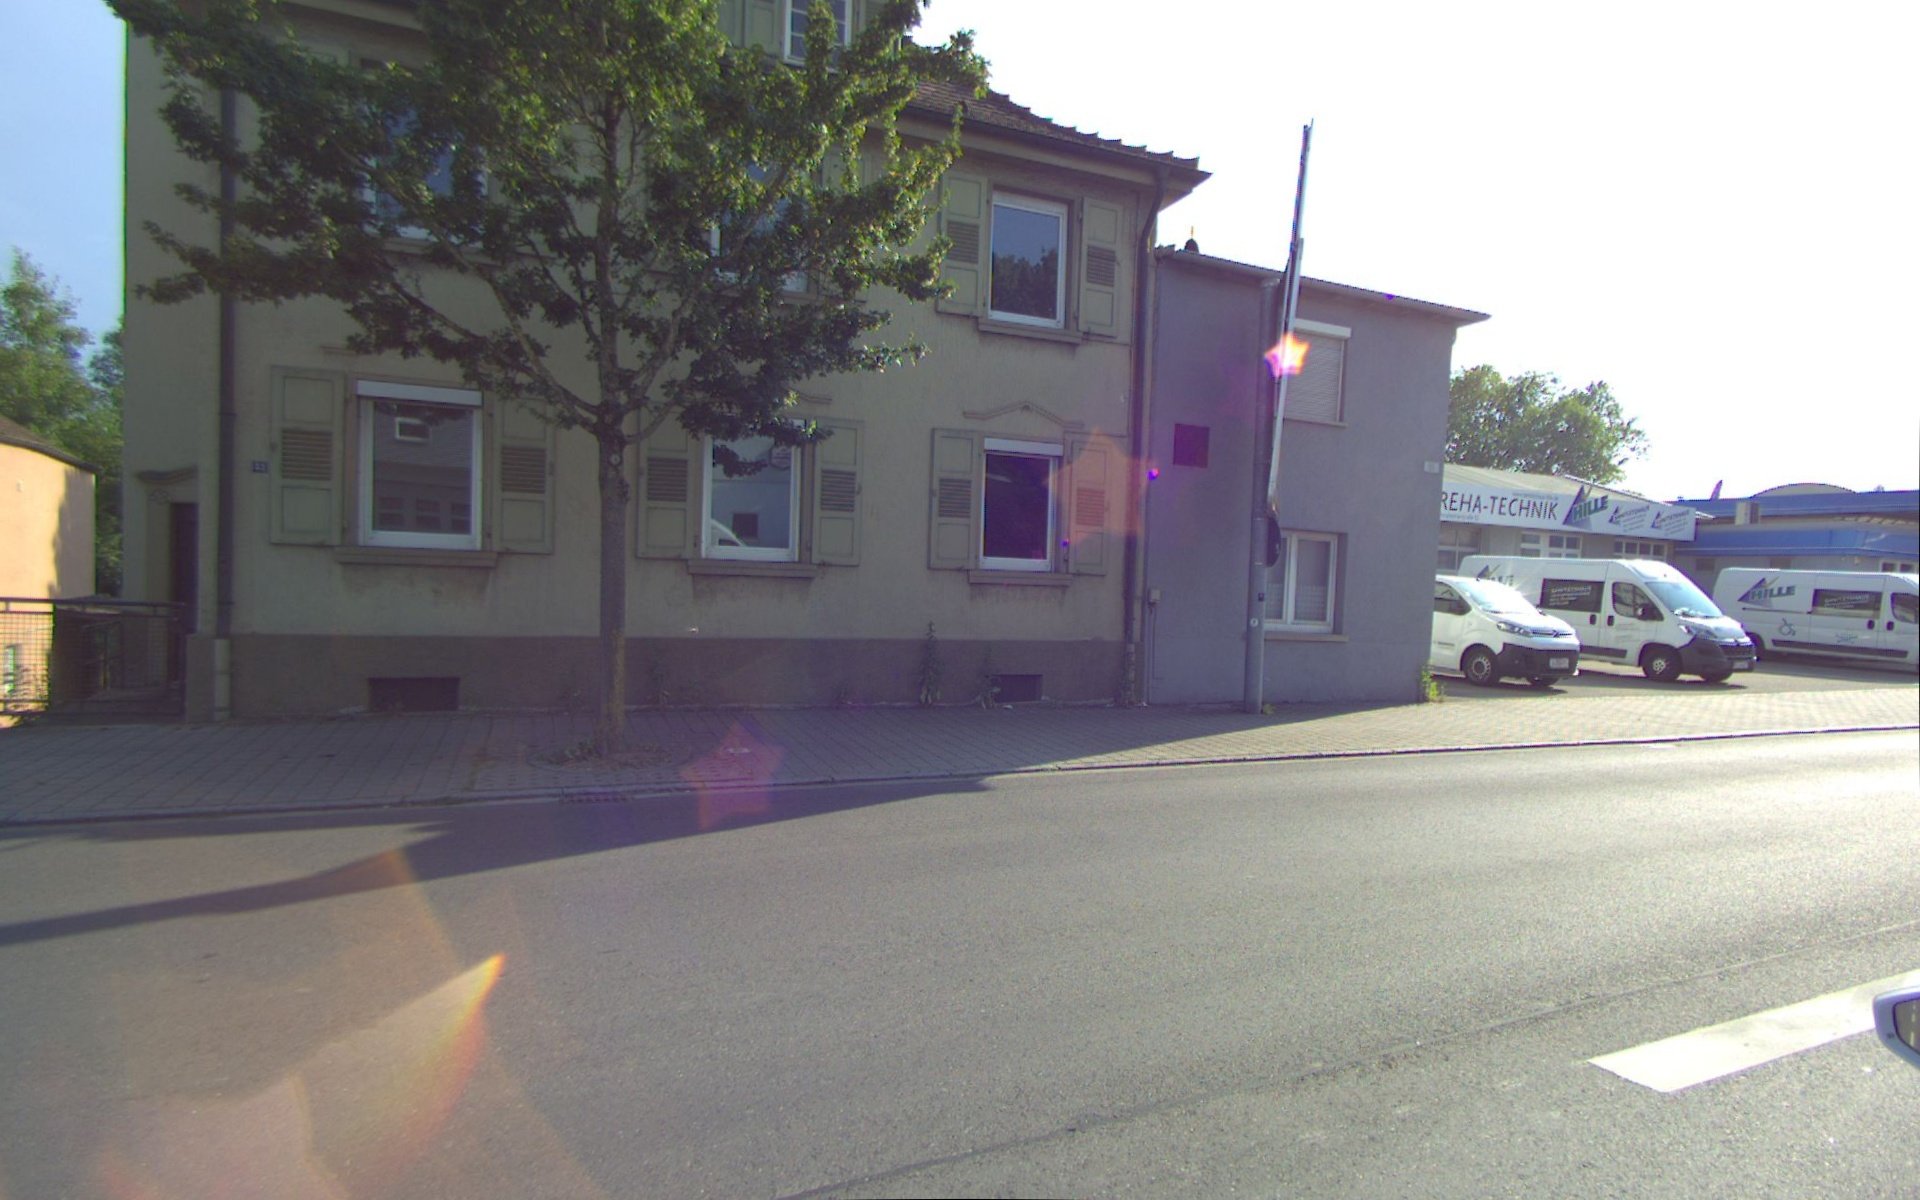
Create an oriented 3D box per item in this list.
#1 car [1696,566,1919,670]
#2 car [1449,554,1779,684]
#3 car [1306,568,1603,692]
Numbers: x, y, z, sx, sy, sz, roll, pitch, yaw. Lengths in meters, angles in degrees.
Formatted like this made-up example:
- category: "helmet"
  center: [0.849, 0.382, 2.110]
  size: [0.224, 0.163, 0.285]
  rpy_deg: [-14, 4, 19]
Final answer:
- category: "car"
  center: [23.206, 0.402, 26.152]
  size: [2.221, 2.477, 6.133]
  rpy_deg: [1, 2, -28]
- category: "car"
  center: [14.238, 0.288, 22.443]
  size: [2.163, 2.513, 5.904]
  rpy_deg: [1, 2, -24]
- category: "car"
  center: [9.218, 0.451, 19.282]
  size: [1.909, 2.026, 4.960]
  rpy_deg: [1, 1, -25]
